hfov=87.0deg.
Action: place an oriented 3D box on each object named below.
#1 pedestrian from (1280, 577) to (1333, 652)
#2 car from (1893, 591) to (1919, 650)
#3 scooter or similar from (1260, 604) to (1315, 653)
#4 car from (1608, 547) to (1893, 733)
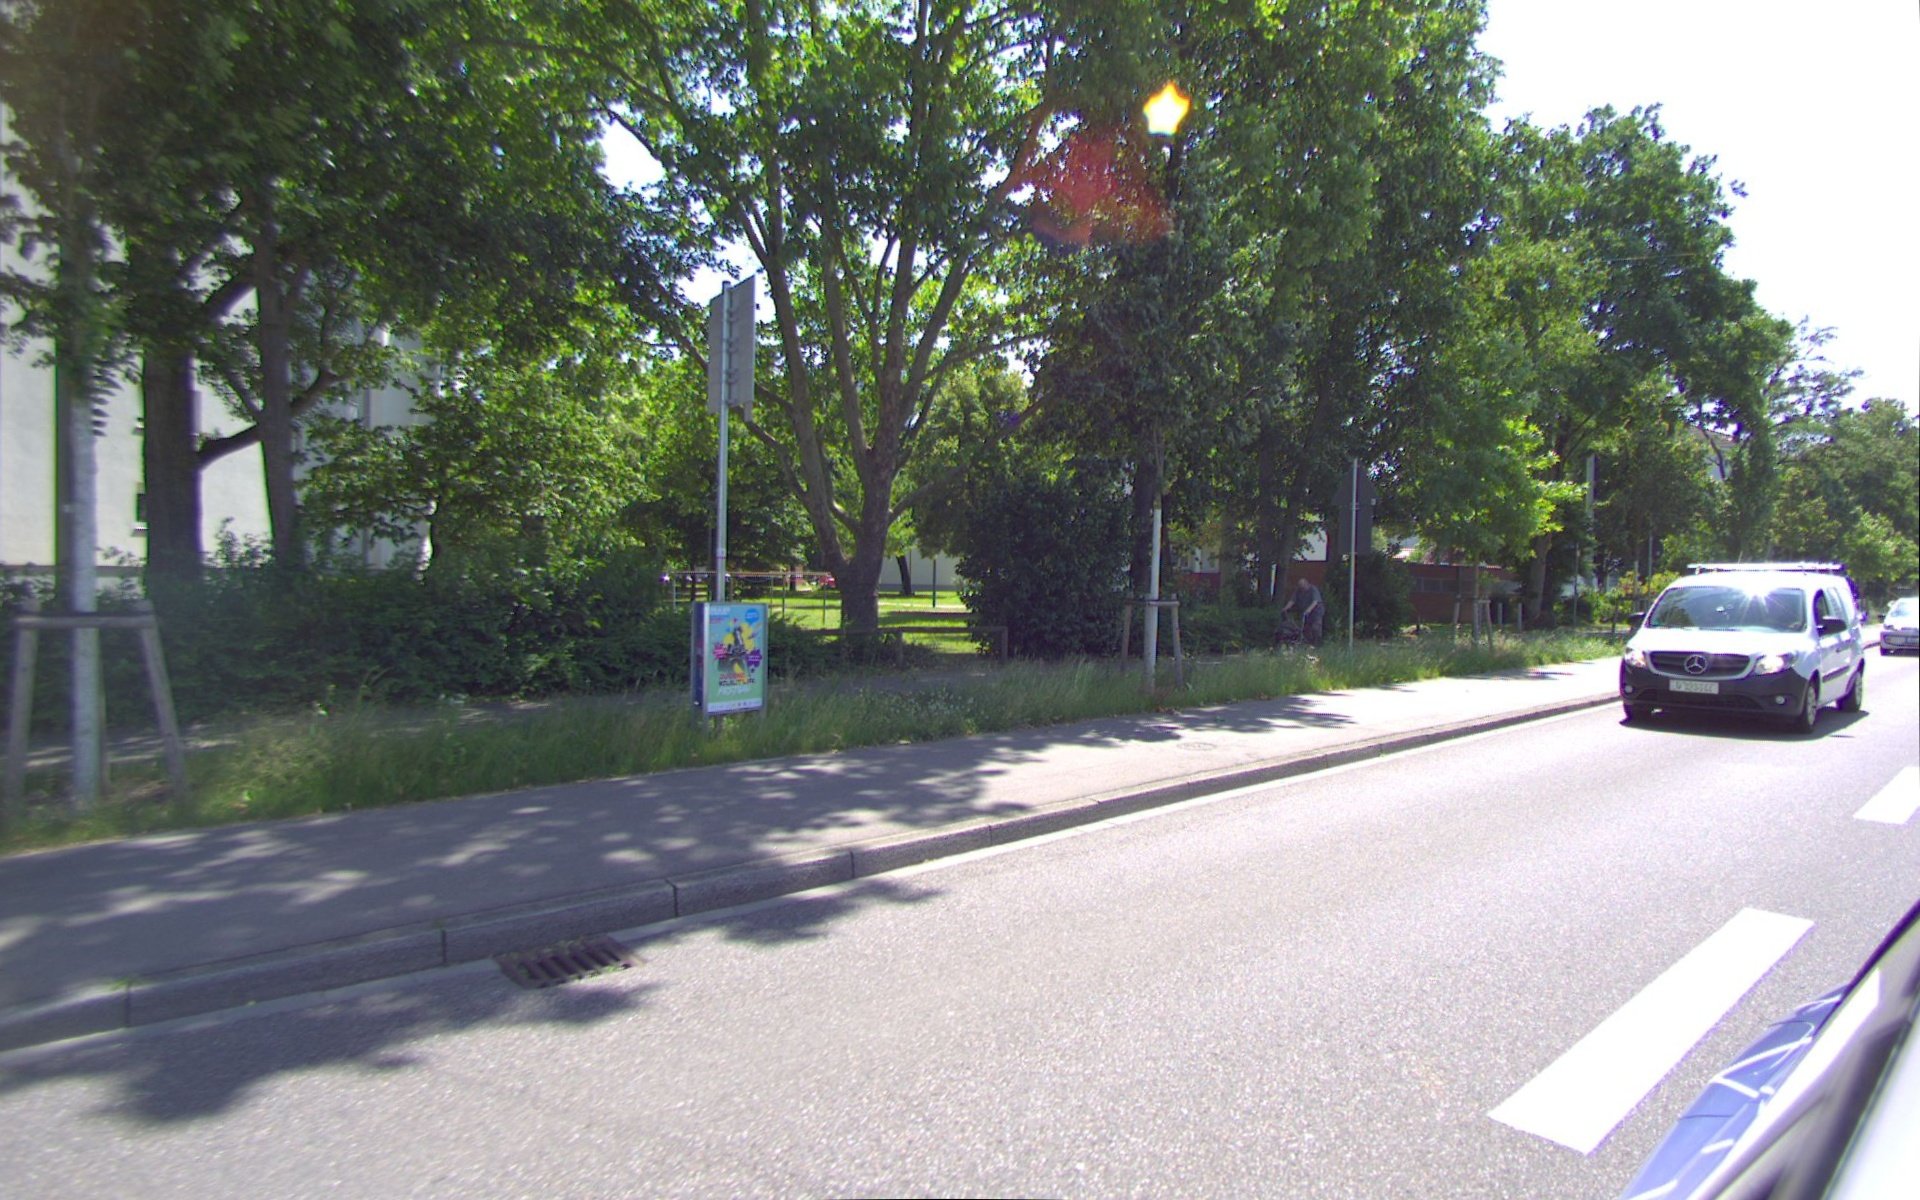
[{"bbox_3d":[6.761,0.274,19.750,0.749,1.416,0.709,0,0,-40],"label":"pedestrian"},{"bbox_3d":[25.502,0.509,26.282,3.439,1.459,1.624,0,0,-43],"label":"car"},{"bbox_3d":[6.237,0.531,19.293,0.749,0.904,0.709,0,0,-40],"label":"scooter or similar"},{"bbox_3d":[9.917,0.396,12.526,4.992,1.879,1.808,0,0,-40],"label":"car"}]
